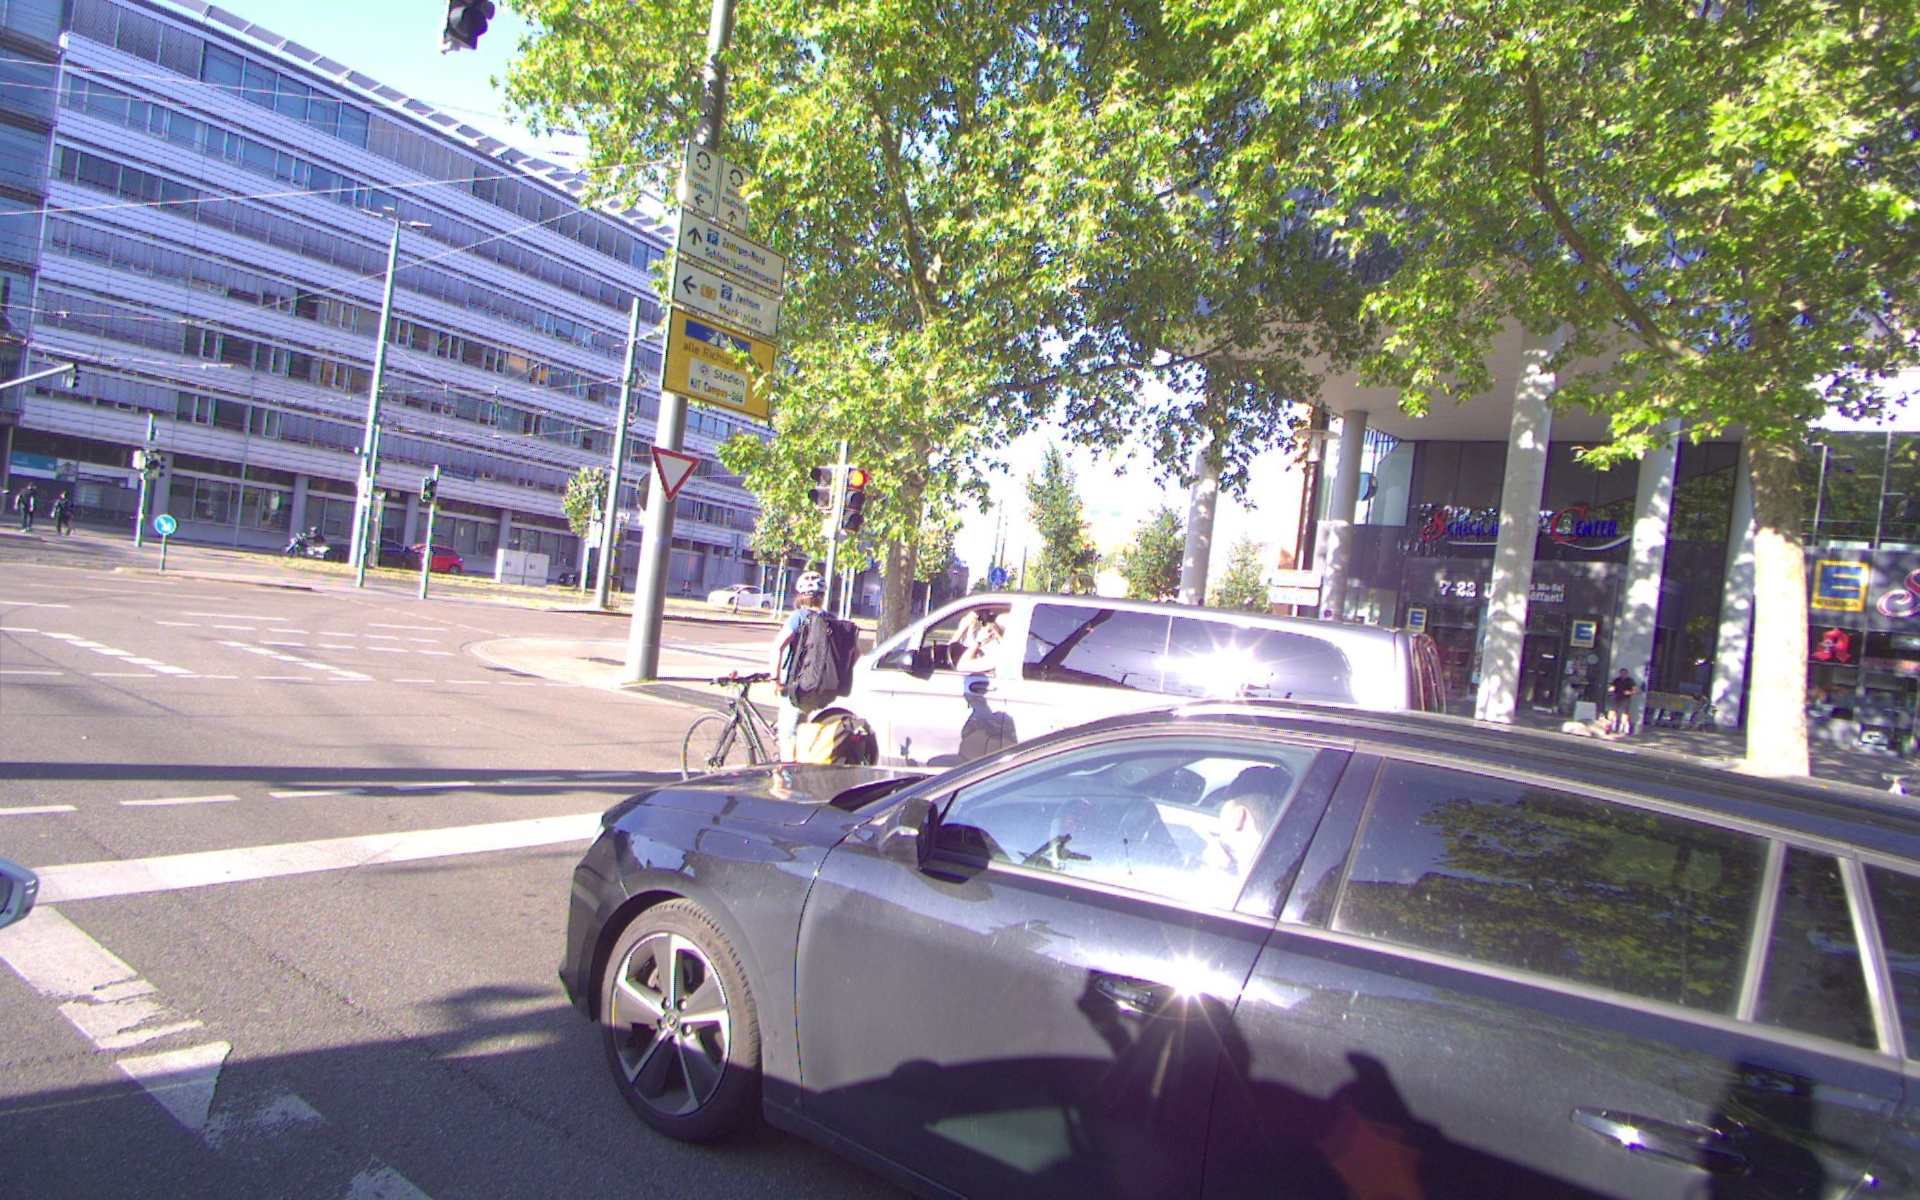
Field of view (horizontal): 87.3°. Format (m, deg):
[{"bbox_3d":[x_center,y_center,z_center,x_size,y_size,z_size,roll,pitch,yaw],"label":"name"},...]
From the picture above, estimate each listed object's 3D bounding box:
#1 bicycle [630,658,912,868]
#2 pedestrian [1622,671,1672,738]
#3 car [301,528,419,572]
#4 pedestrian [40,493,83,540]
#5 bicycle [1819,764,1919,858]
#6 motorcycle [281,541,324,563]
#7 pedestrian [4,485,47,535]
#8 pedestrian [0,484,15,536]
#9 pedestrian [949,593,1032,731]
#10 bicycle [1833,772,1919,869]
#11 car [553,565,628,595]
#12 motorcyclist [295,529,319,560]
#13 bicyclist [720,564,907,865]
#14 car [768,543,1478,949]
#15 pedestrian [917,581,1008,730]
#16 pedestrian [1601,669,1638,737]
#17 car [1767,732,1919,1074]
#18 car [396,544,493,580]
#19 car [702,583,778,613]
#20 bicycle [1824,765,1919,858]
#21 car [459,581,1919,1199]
[{"bbox_3d":[-1.278,1.004,6.616,1.839,0.993,0.561,7,1,32],"label":"bicycle"},{"bbox_3d":[19.139,2.887,28.039,0.704,1.728,0.806,7,1,8],"label":"pedestrian"},{"bbox_3d":[-27.189,-2.238,45.698,1.758,1.415,4.157,7,0,37],"label":"car"},{"bbox_3d":[-33.566,-3.132,37.573,0.883,1.583,0.947,7,1,38],"label":"pedestrian"},{"bbox_3d":[11.202,2.546,12.081,0.437,0.930,1.210,6,0,-39],"label":"bicycle"},{"bbox_3d":[-30.257,-2.194,46.307,0.460,0.819,1.568,7,0,36],"label":"motorcycle"},{"bbox_3d":[-34.770,-3.337,37.436,1.020,1.706,0.912,7,1,39],"label":"pedestrian"},{"bbox_3d":[-34.532,-3.267,35.903,0.857,1.811,0.864,7,1,34],"label":"pedestrian"},{"bbox_3d":[0.432,0.864,14.102,0.751,1.799,0.648,7,1,29],"label":"pedestrian"},{"bbox_3d":[10.543,2.480,11.094,1.233,0.898,0.462,7,1,32],"label":"bicycle"},{"bbox_3d":[-23.554,-1.241,64.275,1.758,1.415,4.157,7,0,37],"label":"car"},{"bbox_3d":[-30.094,-2.562,46.361,0.452,1.291,0.712,7,1,36],"label":"motorcyclist"},{"bbox_3d":[-0.918,0.688,6.354,0.766,1.714,0.632,7,1,32],"label":"bicyclist"},{"bbox_3d":[1.115,0.844,7.957,5.012,2.004,1.939,7,0,31],"label":"car"},{"bbox_3d":[0.034,0.737,13.457,0.800,1.868,0.642,7,1,30],"label":"pedestrian"},{"bbox_3d":[17.522,2.735,26.735,0.598,1.707,0.511,6,1,-41],"label":"pedestrian"},{"bbox_3d":[6.568,1.737,4.570,4.181,1.503,1.741,7,0,31],"label":"car"},{"bbox_3d":[-26.432,-1.921,51.696,1.758,1.411,3.984,7,1,37],"label":"car"},{"bbox_3d":[-14.001,-0.108,64.223,1.758,1.353,4.605,7,0,37],"label":"car"},{"bbox_3d":[11.500,2.608,12.353,0.460,0.938,1.210,6,0,-39],"label":"bicycle"},{"bbox_3d":[0.754,0.944,2.759,4.199,1.431,1.742,7,-2,32],"label":"car"}]
